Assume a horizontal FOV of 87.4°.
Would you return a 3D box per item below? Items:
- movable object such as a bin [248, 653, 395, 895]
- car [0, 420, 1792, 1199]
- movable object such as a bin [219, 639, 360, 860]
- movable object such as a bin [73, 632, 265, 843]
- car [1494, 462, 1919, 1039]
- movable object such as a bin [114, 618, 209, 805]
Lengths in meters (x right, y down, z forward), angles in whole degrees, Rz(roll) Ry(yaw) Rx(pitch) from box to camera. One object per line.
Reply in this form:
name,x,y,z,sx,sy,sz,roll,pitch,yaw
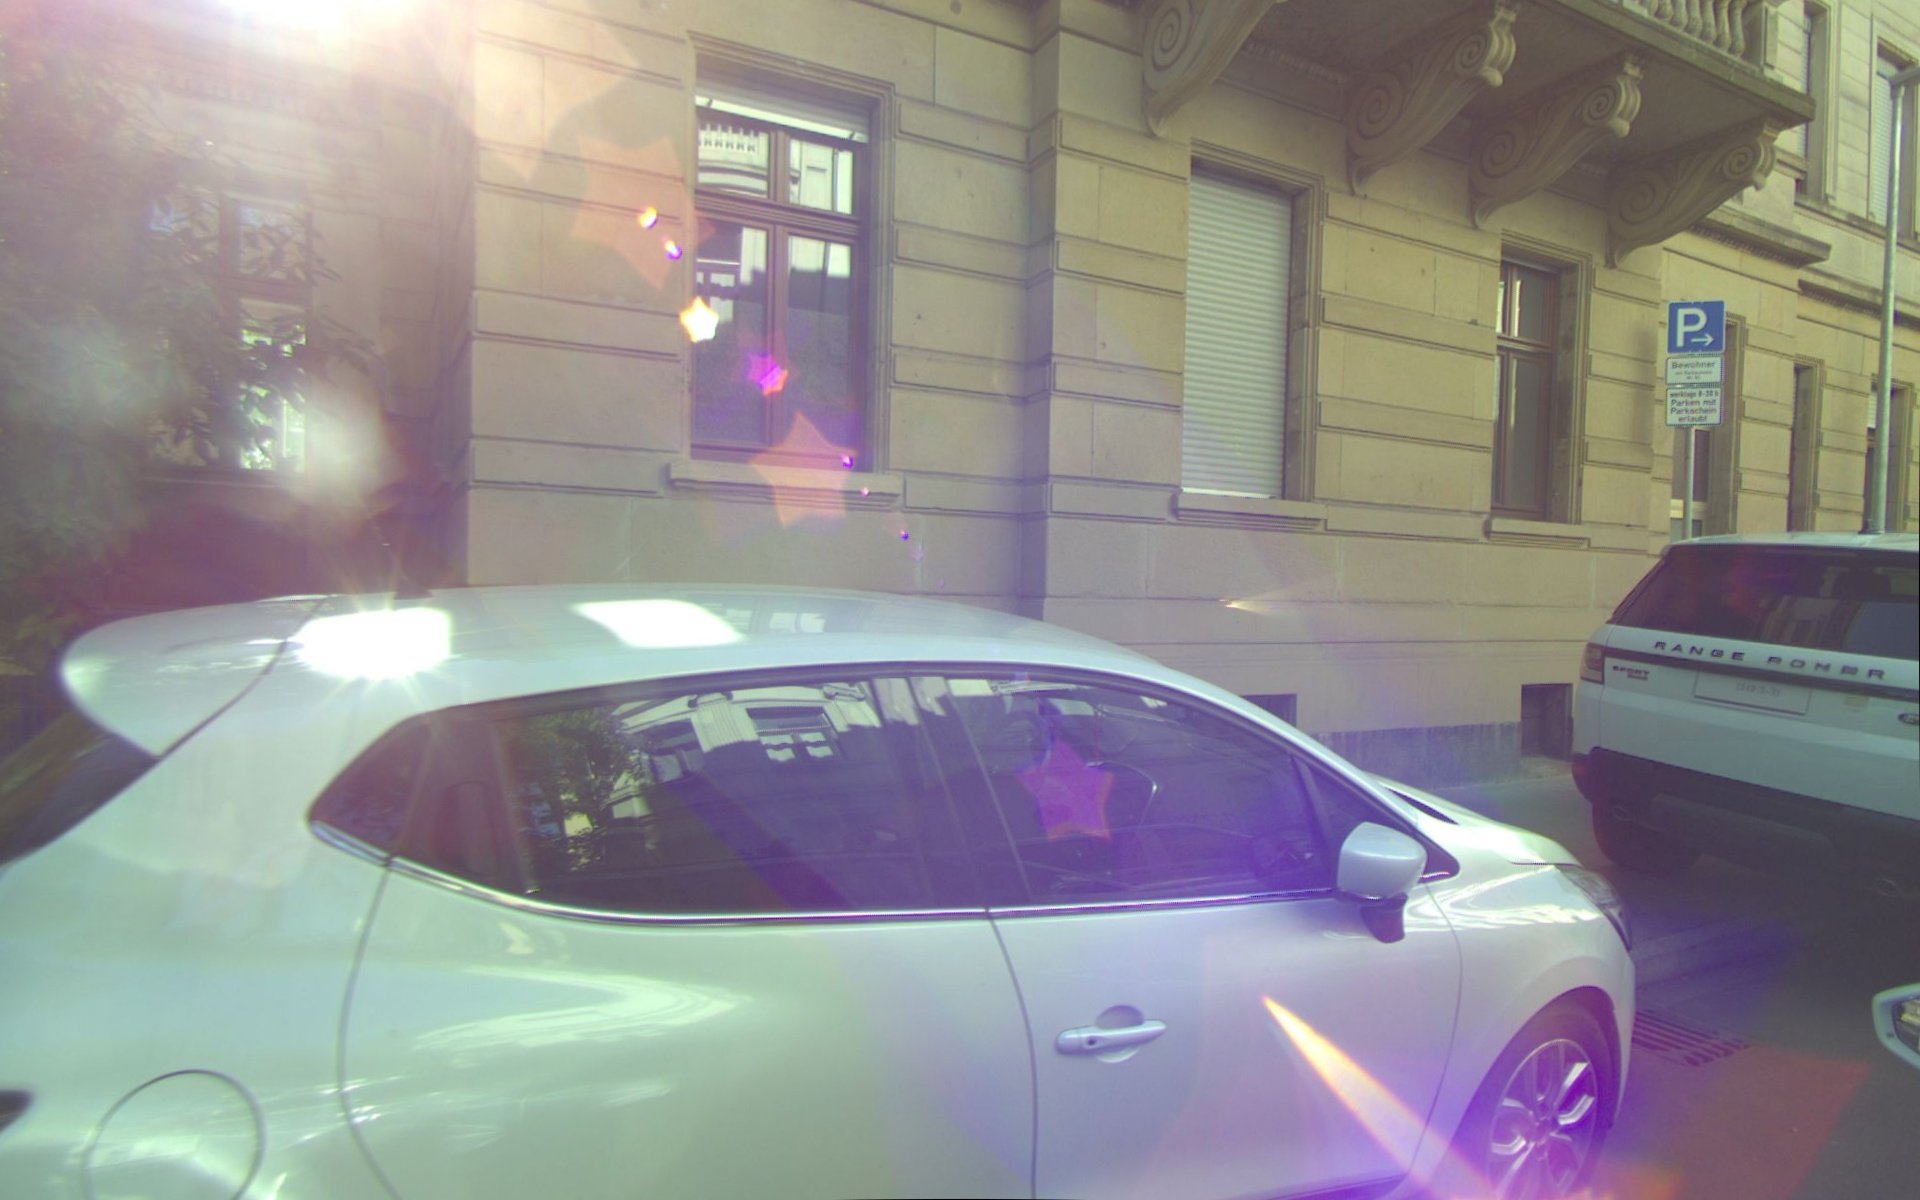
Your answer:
movable object such as a bin,-2.835,0.744,4.491,0.514,0.983,0.395,1,1,-28
car,-0.030,0.622,2.483,3.894,1.582,1.858,2,2,-29
movable object such as a bin,-3.281,0.697,4.951,0.514,0.983,0.544,1,1,-28
movable object such as a bin,-4.044,0.669,5.185,0.681,0.983,0.544,1,1,-28
car,5.124,0.561,5.128,4.485,2.040,2.014,1,0,-27
movable object such as a bin,-4.405,0.594,5.555,0.340,0.983,0.379,0,1,-28
